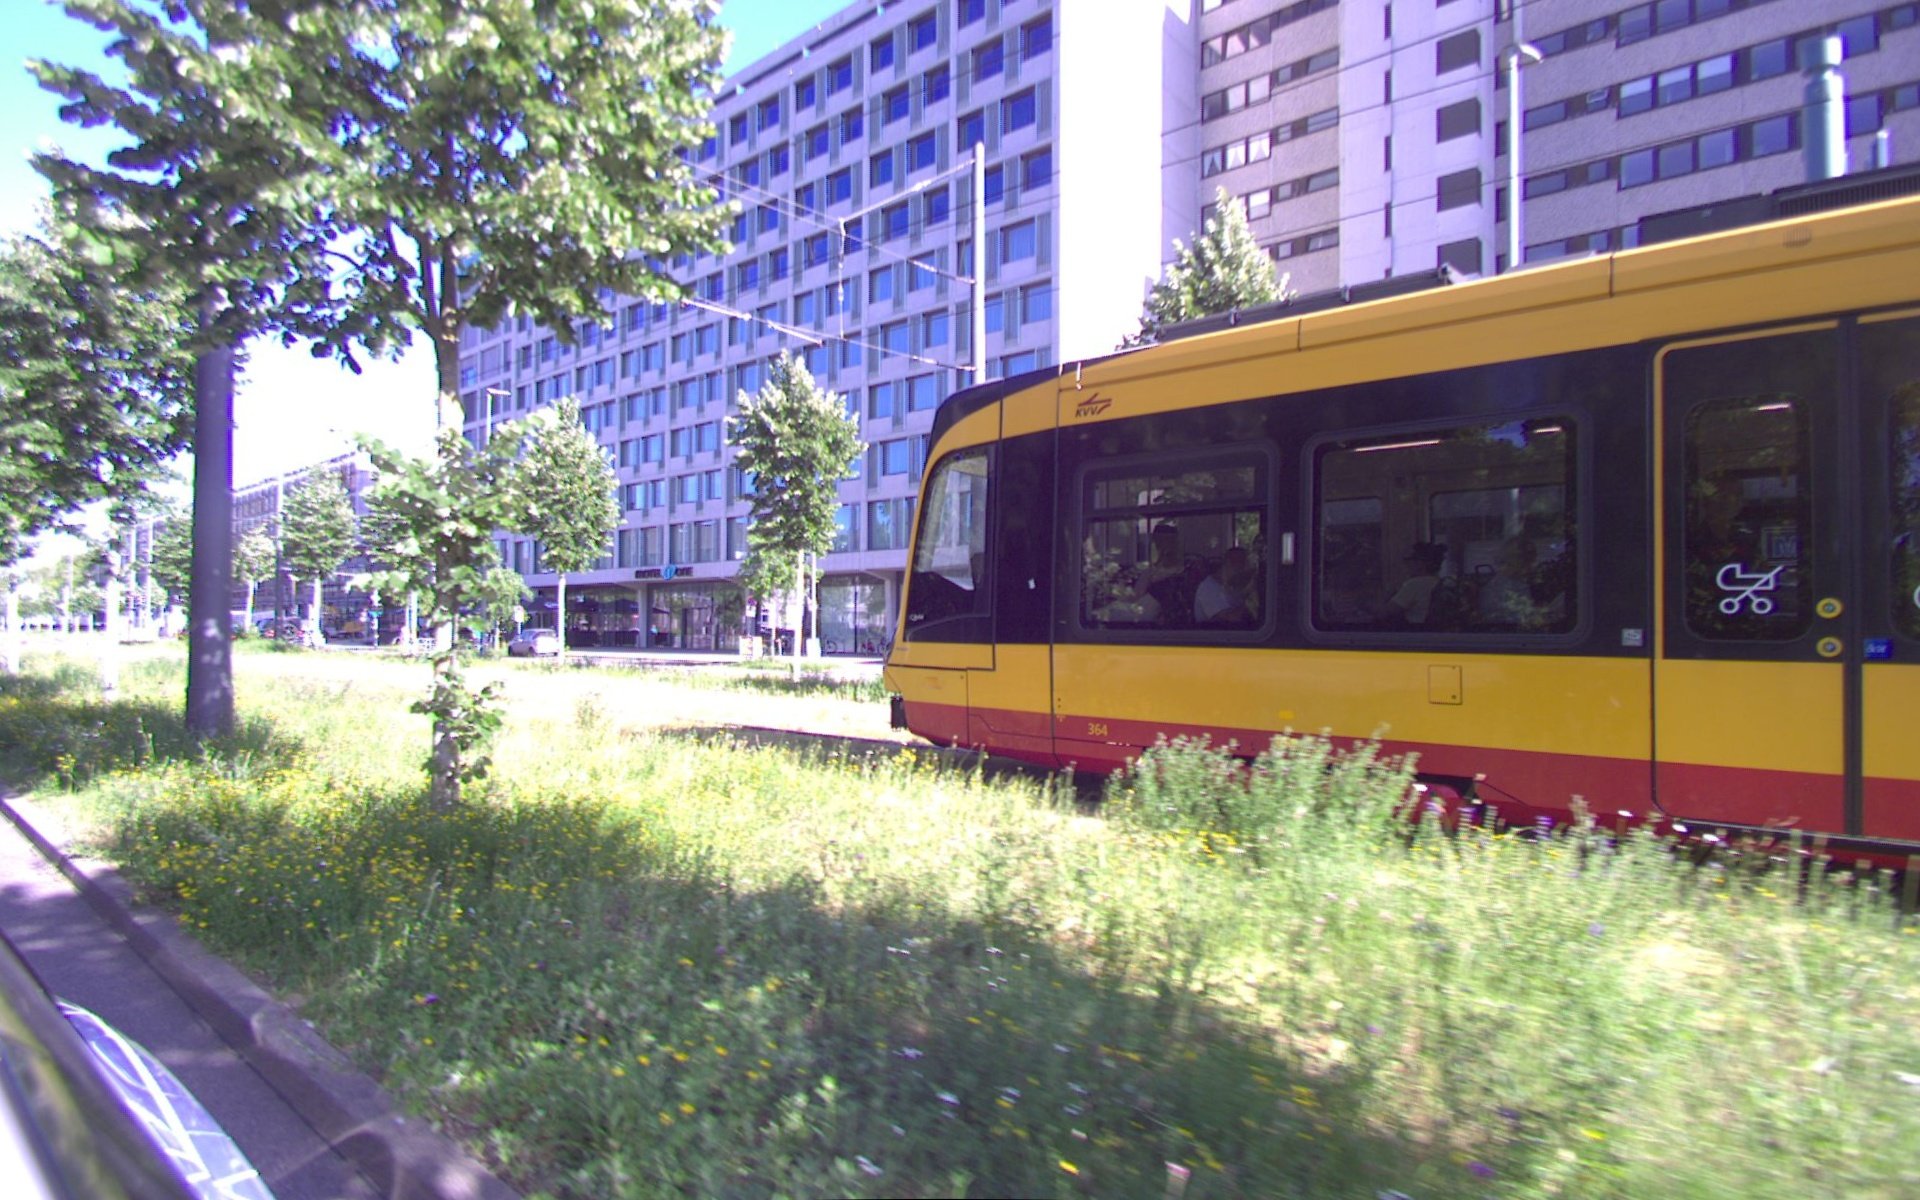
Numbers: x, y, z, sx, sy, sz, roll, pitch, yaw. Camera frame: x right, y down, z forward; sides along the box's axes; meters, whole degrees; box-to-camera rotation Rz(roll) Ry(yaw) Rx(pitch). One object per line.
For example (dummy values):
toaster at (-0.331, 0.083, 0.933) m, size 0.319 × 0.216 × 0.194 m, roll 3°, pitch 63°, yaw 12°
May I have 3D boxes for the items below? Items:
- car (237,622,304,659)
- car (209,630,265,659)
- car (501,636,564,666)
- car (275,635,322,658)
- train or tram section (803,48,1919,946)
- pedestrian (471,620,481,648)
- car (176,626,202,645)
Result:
car at (-36.429, 2.120, 53.459) m, size 4.284 × 1.833 × 1.972 m, roll -1°, pitch -1°, yaw 42°
car at (-41.583, 2.525, 58.177) m, size 3.998 × 1.564 × 1.707 m, roll -1°, pitch -1°, yaw 41°
car at (-24.280, 2.852, 57.466) m, size 3.771 × 1.561 × 1.841 m, roll -1°, pitch -1°, yaw 41°
car at (-45.866, 3.218, 70.152) m, size 3.811 × 1.519 × 1.804 m, roll -1°, pitch -1°, yaw 41°
train or tram section at (4.709, -0.426, 4.814) m, size 14.140 × 3.697 × 1.973 m, roll -1°, pitch -1°, yaw 40°
pedestrian at (-32.113, 2.229, 67.116) m, size 0.501 × 1.854 × 0.516 m, roll 0°, pitch -1°, yaw -38°
car at (-70.983, 3.243, 93.219) m, size 1.749 × 1.686 × 3.899 m, roll 0°, pitch -1°, yaw -35°
